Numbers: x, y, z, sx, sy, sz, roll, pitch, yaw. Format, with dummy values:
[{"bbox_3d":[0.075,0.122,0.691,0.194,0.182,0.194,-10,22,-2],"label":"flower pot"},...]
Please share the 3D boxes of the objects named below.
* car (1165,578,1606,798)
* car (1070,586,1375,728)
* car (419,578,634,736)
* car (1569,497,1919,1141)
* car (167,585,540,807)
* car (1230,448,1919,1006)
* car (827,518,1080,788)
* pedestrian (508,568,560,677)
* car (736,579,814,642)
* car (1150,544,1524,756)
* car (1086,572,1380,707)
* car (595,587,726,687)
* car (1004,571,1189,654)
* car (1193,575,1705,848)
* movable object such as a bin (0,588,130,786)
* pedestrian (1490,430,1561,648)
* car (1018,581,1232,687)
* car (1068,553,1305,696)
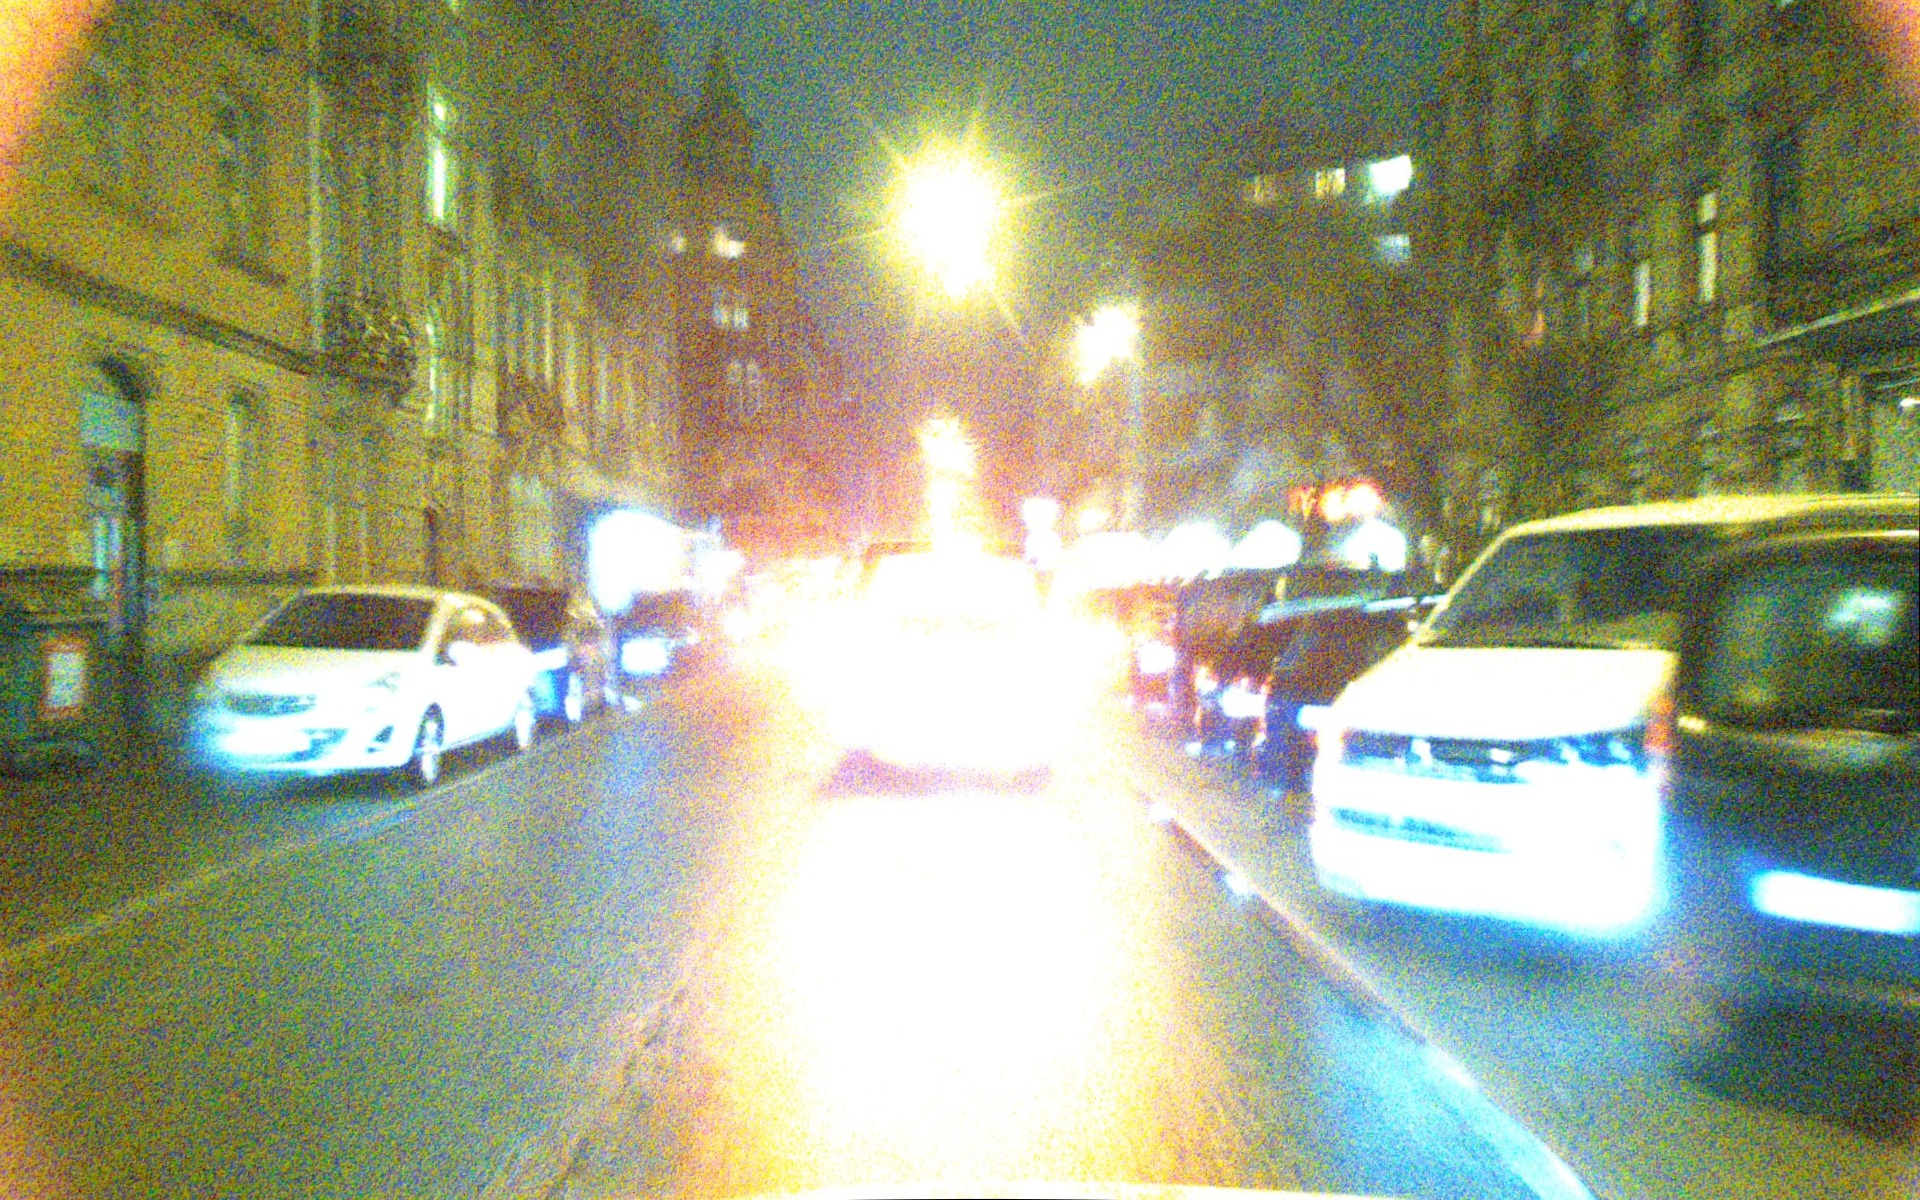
[{"bbox_3d":[3.577,0.637,13.716,3.527,1.510,1.704,-2,0,-37],"label":"car"},{"bbox_3d":[3.222,0.637,20.082,3.527,1.478,1.651,-2,0,-36],"label":"car"},{"bbox_3d":[-4.782,0.567,18.767,1.623,1.584,4.073,1,0,-4],"label":"car"},{"bbox_3d":[3.945,0.538,5.623,3.517,1.741,1.630,-2,0,-30],"label":"car"},{"bbox_3d":[-4.649,0.653,13.255,1.554,1.508,3.793,1,0,0],"label":"car"},{"bbox_3d":[3.827,0.453,8.316,4.737,2.084,2.044,0,1,-32],"label":"car"},{"bbox_3d":[-0.075,0.431,14.860,1.953,2.086,3.999,0,-1,-1],"label":"car"},{"bbox_3d":[-6.876,0.356,26.702,0.687,1.734,0.539,1,0,-1],"label":"pedestrian"},{"bbox_3d":[-5.328,0.290,48.011,1.845,1.714,3.999,1,0,-1],"label":"car"},{"bbox_3d":[3.869,0.432,16.756,3.711,1.872,1.703,-2,0,-38],"label":"car"},{"bbox_3d":[3.892,0.499,23.313,3.958,1.615,1.856,-3,1,-37],"label":"car"},{"bbox_3d":[-5.067,0.586,28.450,1.777,1.584,4.073,1,0,-4],"label":"car"},{"bbox_3d":[3.105,0.272,37.318,3.958,1.792,1.856,1,0,-38],"label":"car"},{"bbox_3d":[3.399,0.656,11.312,3.471,1.520,1.434,-2,0,-33],"label":"car"},{"bbox_3d":[-7.215,0.633,12.714,1.026,1.423,1.158,2,0,2],"label":"movable object such as a bin"},{"bbox_3d":[9.489,-1.012,27.784,0.873,3.589,0.791,1,0,-1],"label":"pedestrian"},{"bbox_3d":[2.878,0.555,28.568,3.529,1.618,1.584,-2,0,-38],"label":"car"},{"bbox_3d":[3.540,0.338,25.566,3.529,2.025,1.584,-2,0,-38],"label":"car"}]
